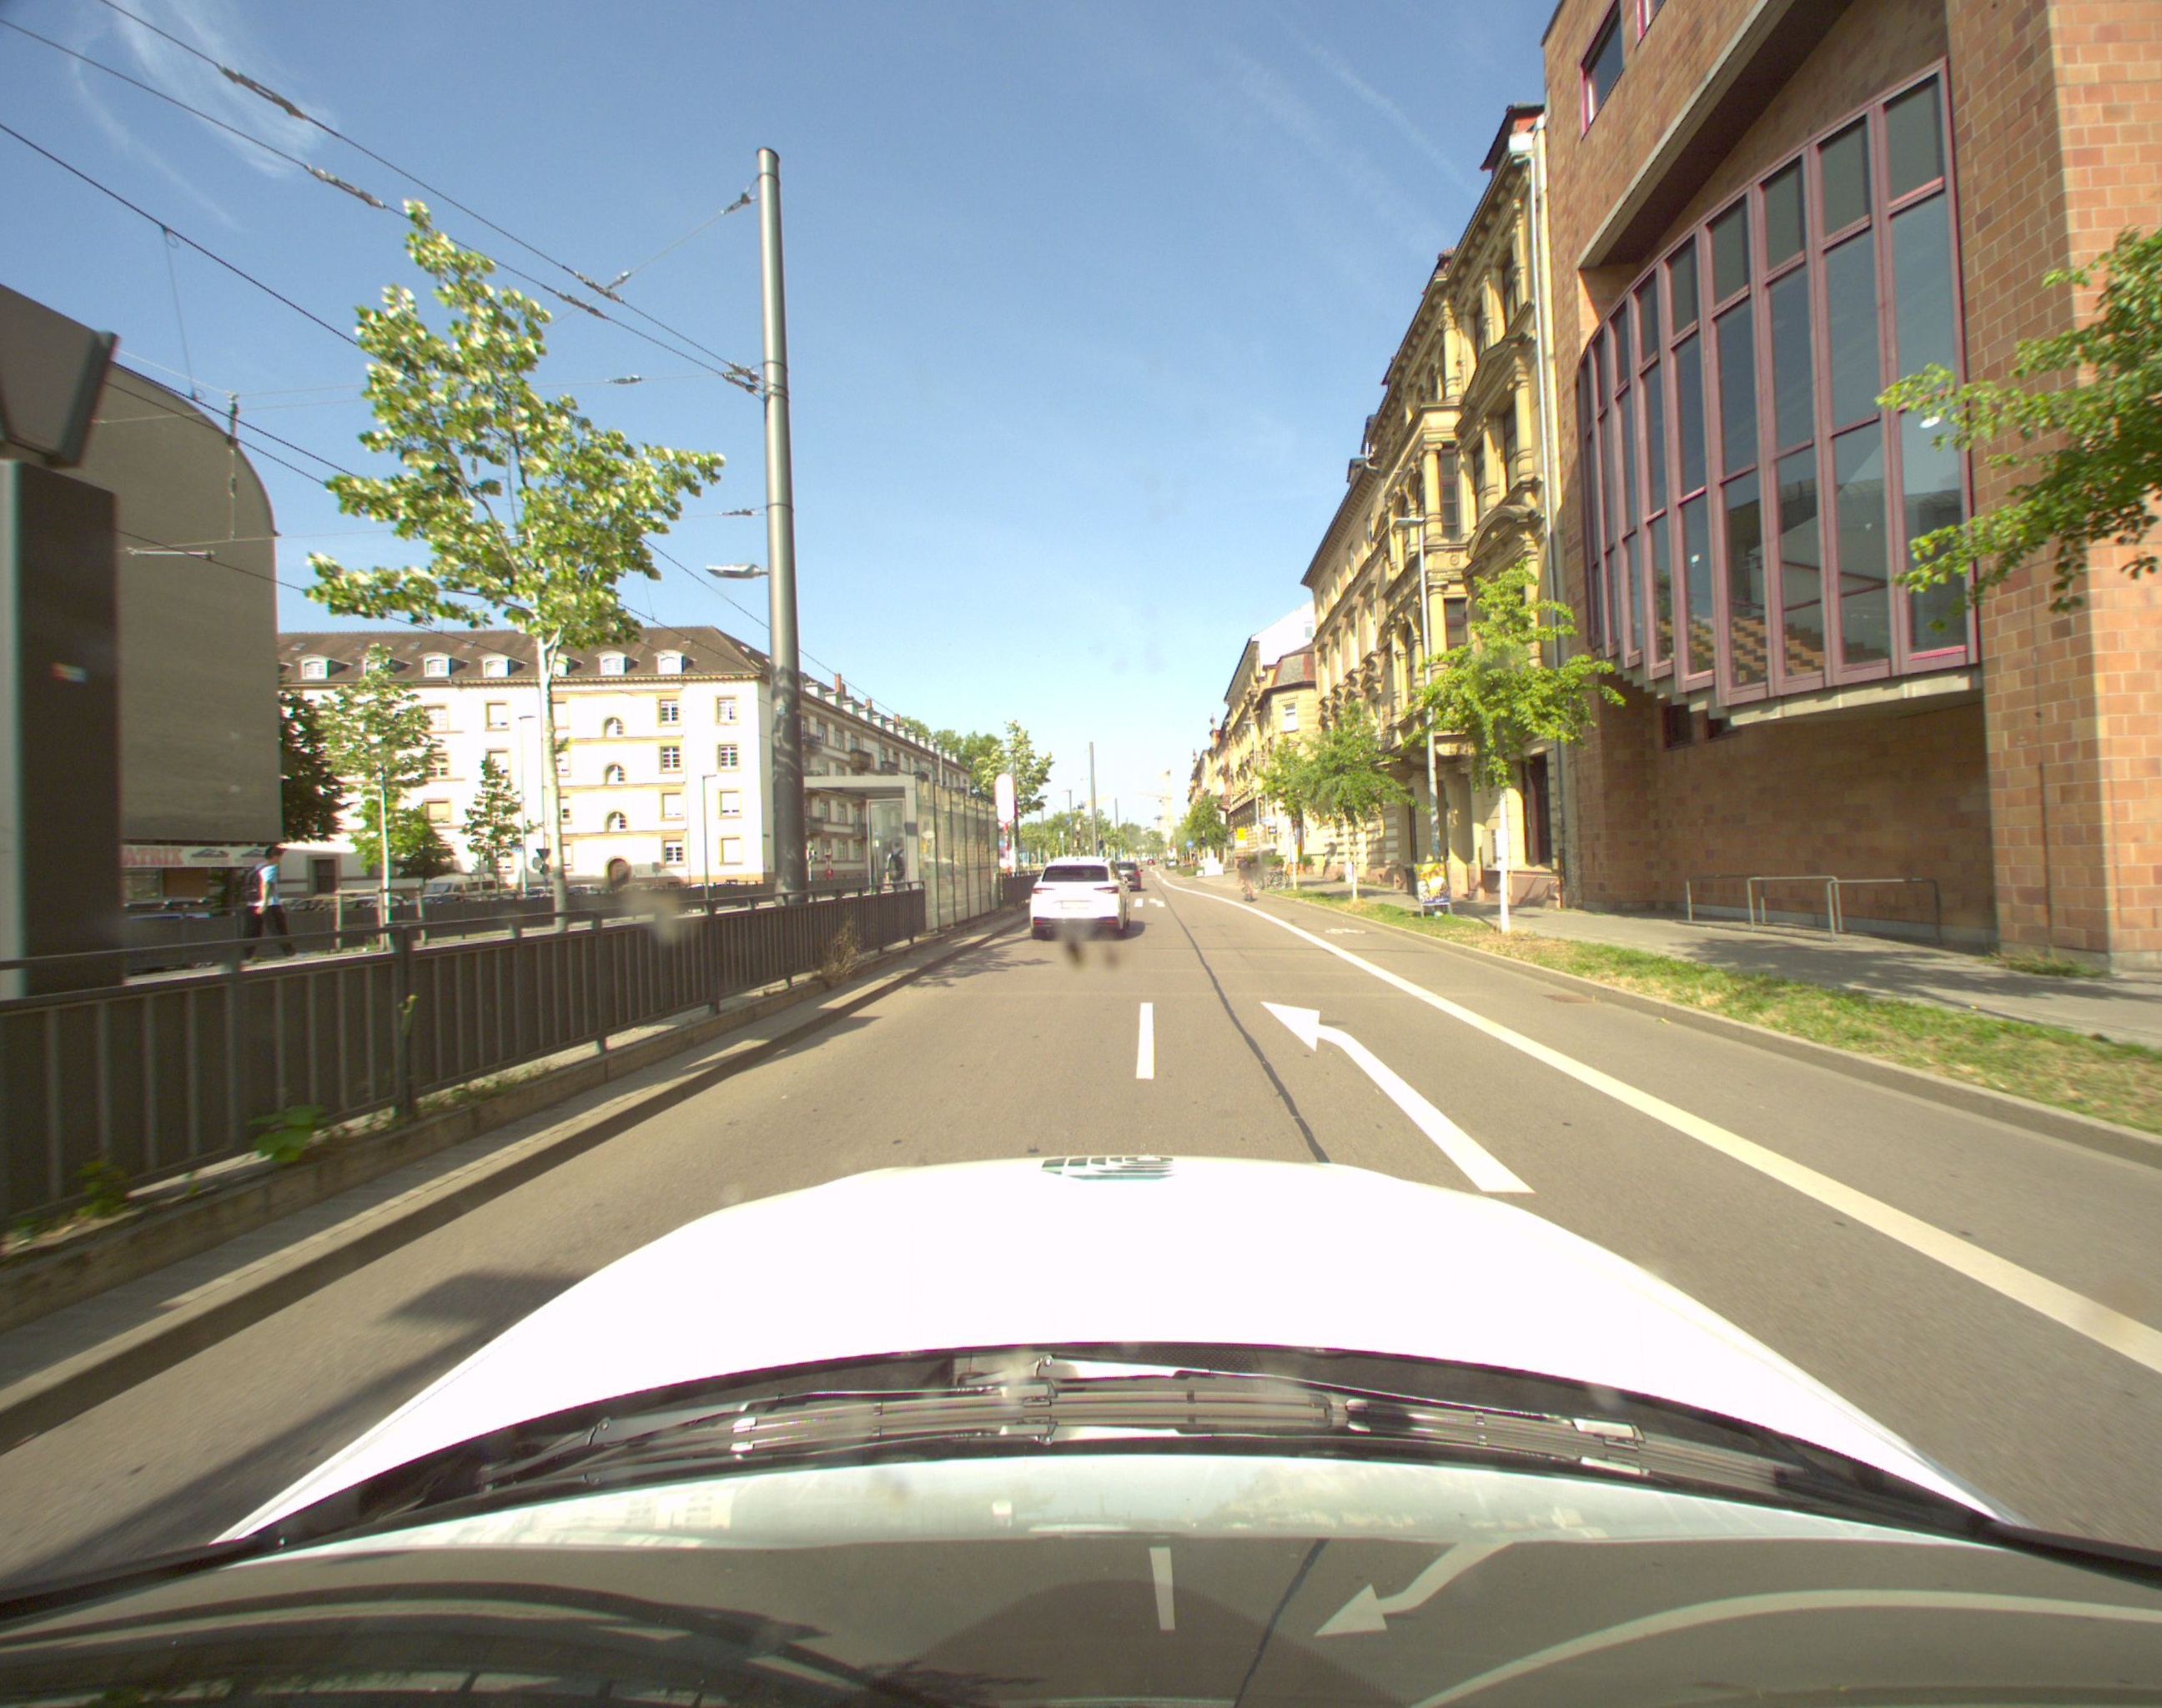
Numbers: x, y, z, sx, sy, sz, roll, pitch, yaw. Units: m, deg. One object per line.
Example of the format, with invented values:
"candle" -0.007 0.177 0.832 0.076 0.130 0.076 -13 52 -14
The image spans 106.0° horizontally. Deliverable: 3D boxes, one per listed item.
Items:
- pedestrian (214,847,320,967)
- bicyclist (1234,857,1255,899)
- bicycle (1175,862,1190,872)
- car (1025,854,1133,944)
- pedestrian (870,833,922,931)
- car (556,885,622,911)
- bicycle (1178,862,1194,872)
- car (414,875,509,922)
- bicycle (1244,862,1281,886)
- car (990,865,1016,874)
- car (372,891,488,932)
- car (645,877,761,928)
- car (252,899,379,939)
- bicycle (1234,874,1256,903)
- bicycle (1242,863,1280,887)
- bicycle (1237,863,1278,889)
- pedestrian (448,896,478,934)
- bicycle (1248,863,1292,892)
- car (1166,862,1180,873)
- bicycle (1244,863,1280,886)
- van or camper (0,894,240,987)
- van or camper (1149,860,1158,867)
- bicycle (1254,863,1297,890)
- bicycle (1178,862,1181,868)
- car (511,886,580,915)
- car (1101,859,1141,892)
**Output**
"pedestrian" -13.310 0.837 13.343 0.735 1.872 0.941 -2 -1 6
"bicyclist" 5.922 0.858 29.572 0.581 1.482 0.932 -1 0 3
"bicycle" 12.567 1.640 101.045 1.777 1.054 0.373 -4 -1 3
"car" 0.097 0.844 16.968 1.808 1.590 4.412 -1 -1 5
"pedestrian" -3.880 0.579 17.165 0.830 2.014 1.028 0 -1 1
"car" -30.573 2.696 50.712 1.668 1.405 3.998 -2 -1 -1
"bicycle" 12.892 1.621 99.779 1.801 1.096 0.671 -4 -1 -1
"car" -37.889 2.630 50.017 1.989 2.583 5.049 -2 -1 -2
"bicycle" 9.306 1.045 41.857 1.743 1.087 0.584 -4 -1 7
"car" -22.358 4.442 233.216 6.889 2.639 2.500 1 -1 -16
"car" -30.844 2.659 38.790 1.757 1.599 4.555 -2 -1 0
"car" -15.839 2.000 34.453 1.980 1.805 4.647 -3 -1 12
"car" -35.671 2.981 38.115 1.986 1.508 4.002 -2 -1 2
"bicycle" 5.948 1.225 29.613 0.503 0.953 1.786 -1 1 3
"bicycle" 8.947 1.045 40.623 1.744 1.087 0.670 -4 -1 10
"bicycle" 8.470 1.062 39.124 1.760 1.087 0.668 -5 -1 -19
"pedestrian" -26.972 2.637 35.560 0.807 1.583 0.676 -2 -1 -16
"bicycle" 8.440 1.047 36.363 1.752 1.087 0.610 -5 -1 -5
"car" 13.830 2.053 122.655 1.763 1.588 4.249 -3 -1 1
"bicycle" 9.438 1.056 42.450 1.743 1.087 0.584 -4 -1 7
"van or camper" -24.883 2.141 21.010 1.918 1.968 4.010 -2 -1 9
"van or camper" 18.247 2.369 204.835 1.984 1.655 4.005 -3 -1 4
"bicycle" 9.031 1.054 37.892 1.752 1.087 0.657 -5 -1 -5
"bicycle" 17.406 1.967 143.691 0.490 1.094 1.829 -2 -1 5
"car" -33.032 2.838 50.338 1.668 1.533 3.924 -2 -1 -1
"car" 2.008 0.993 39.538 1.745 1.484 4.412 -1 -1 5
